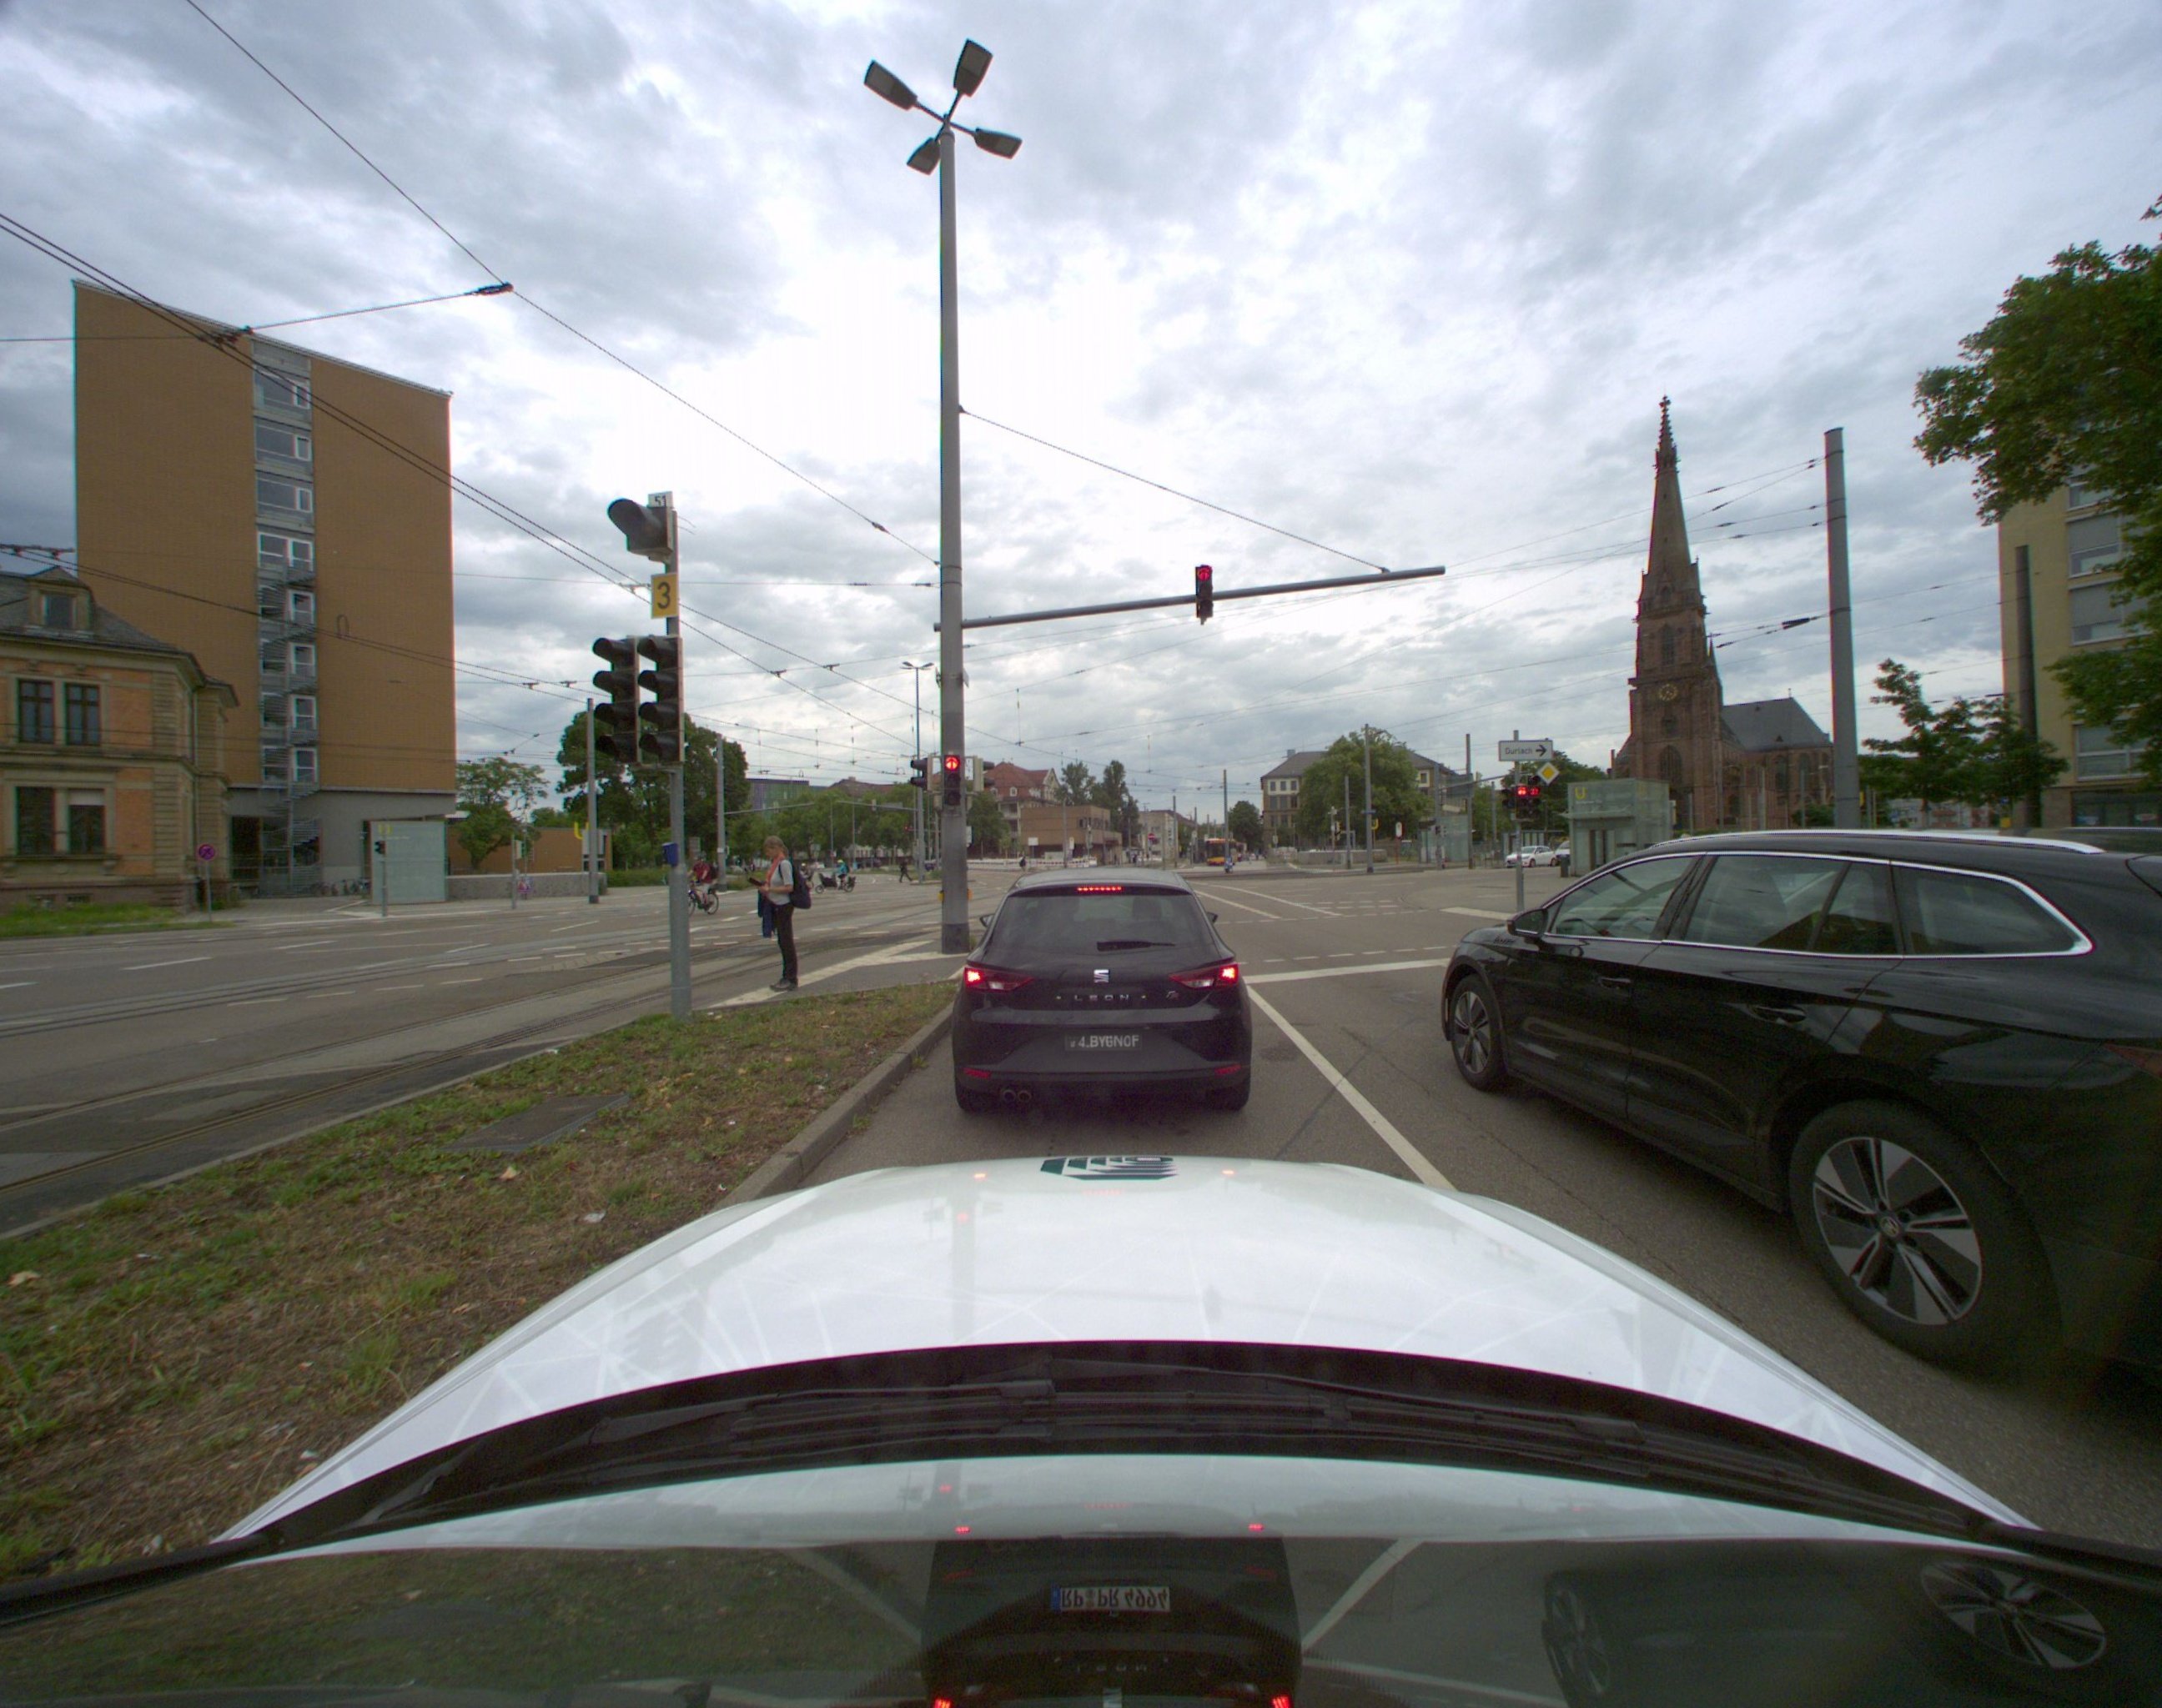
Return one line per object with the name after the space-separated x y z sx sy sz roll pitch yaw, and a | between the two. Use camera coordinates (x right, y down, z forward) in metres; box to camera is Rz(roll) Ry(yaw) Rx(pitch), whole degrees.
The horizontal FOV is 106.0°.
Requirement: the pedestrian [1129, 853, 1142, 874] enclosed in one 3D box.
4.922 0.853 73.599 0.692 1.934 1.037 -2 0 40 | pedestrian

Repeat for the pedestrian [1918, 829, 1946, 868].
36.689 -0.238 35.112 0.875 1.638 0.631 -1 0 -32 | pedestrian

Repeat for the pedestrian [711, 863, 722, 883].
-36.528 1.875 81.616 0.799 1.981 0.872 -1 -2 -33 | pedestrian

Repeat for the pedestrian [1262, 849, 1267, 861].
29.543 0.167 131.116 0.659 2.013 0.692 -2 0 2 | pedestrian

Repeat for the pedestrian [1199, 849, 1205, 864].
15.520 0.339 104.482 0.617 1.918 0.701 -2 0 11 | pedestrian

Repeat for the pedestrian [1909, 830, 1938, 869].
35.811 -0.187 34.616 0.875 1.638 0.631 -1 0 -31 | pedestrian

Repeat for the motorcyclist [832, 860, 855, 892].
-12.636 1.188 43.278 0.984 1.649 0.742 -1 -1 -31 | motorcyclist

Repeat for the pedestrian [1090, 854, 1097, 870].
1.508 0.952 97.521 0.704 1.918 0.625 -2 0 9 | pedestrian

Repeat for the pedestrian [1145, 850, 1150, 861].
11.251 0.290 137.448 0.615 1.918 0.715 -3 -2 27 | pedestrian

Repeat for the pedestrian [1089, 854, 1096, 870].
1.350 0.938 96.728 0.704 1.918 0.625 -2 0 9 | pedestrian

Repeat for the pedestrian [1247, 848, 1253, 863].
21.645 0.172 104.300 0.589 1.884 0.535 -2 0 28 | pedestrian

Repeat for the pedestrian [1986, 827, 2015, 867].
38.263 -0.280 33.882 0.875 1.638 0.631 -1 0 -31 | pedestrian

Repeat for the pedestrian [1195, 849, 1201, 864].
15.157 0.326 105.414 0.618 1.918 0.711 -2 0 5 | pedestrian

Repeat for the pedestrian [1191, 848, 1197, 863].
14.434 0.196 103.974 0.617 1.918 0.701 -2 0 11 | pedestrian

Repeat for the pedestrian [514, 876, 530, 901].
-30.717 1.877 44.758 0.492 1.336 0.577 -2 -1 41 | pedestrian

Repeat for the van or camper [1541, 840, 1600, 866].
35.274 -0.089 58.679 4.321 1.742 1.979 -1 -2 -34 | van or camper

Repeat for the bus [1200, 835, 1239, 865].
15.966 -0.431 93.273 2.938 3.123 11.589 -2 0 16 | bus

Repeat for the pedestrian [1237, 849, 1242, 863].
21.542 0.326 110.880 0.528 1.884 0.597 -2 0 1 | pedestrian

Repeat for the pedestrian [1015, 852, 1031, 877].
-4.654 0.844 65.521 1.032 1.934 0.695 -2 0 -24 | pedestrian

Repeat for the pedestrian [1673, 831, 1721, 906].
16.329 0.382 21.582 0.878 1.930 1.023 -1 0 43 | pedestrian

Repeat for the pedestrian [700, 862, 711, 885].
-33.665 1.766 73.029 0.799 1.981 0.872 -1 -2 -33 | pedestrian

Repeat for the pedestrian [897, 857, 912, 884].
-13.231 1.214 60.984 1.023 2.013 0.841 -1 0 -18 | pedestrian

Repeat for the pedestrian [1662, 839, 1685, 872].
29.811 0.075 40.995 0.875 1.638 0.631 -1 0 -32 | pedestrian

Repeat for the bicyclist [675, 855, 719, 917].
-12.079 0.987 25.622 0.770 1.898 1.000 -2 0 11 | bicyclist

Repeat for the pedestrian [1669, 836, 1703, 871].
31.231 -0.022 42.053 0.951 1.797 1.076 -1 -2 -34 | pedestrian

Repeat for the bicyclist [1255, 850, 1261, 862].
27.307 0.334 125.469 0.865 1.851 1.052 -2 0 14 | bicyclist

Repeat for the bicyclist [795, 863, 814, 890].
-17.485 1.390 51.503 0.646 1.673 0.862 -2 -1 44 | bicyclist

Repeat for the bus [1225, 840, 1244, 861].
25.733 -0.593 136.283 2.635 3.283 11.034 -2 0 13 | bus

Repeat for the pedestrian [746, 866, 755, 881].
-42.827 2.520 105.560 0.880 1.981 0.791 -1 -2 -17 | pedestrian

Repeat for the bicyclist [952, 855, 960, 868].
-16.861 1.043 110.176 0.886 1.732 0.888 -1 0 -20 | bicyclist
